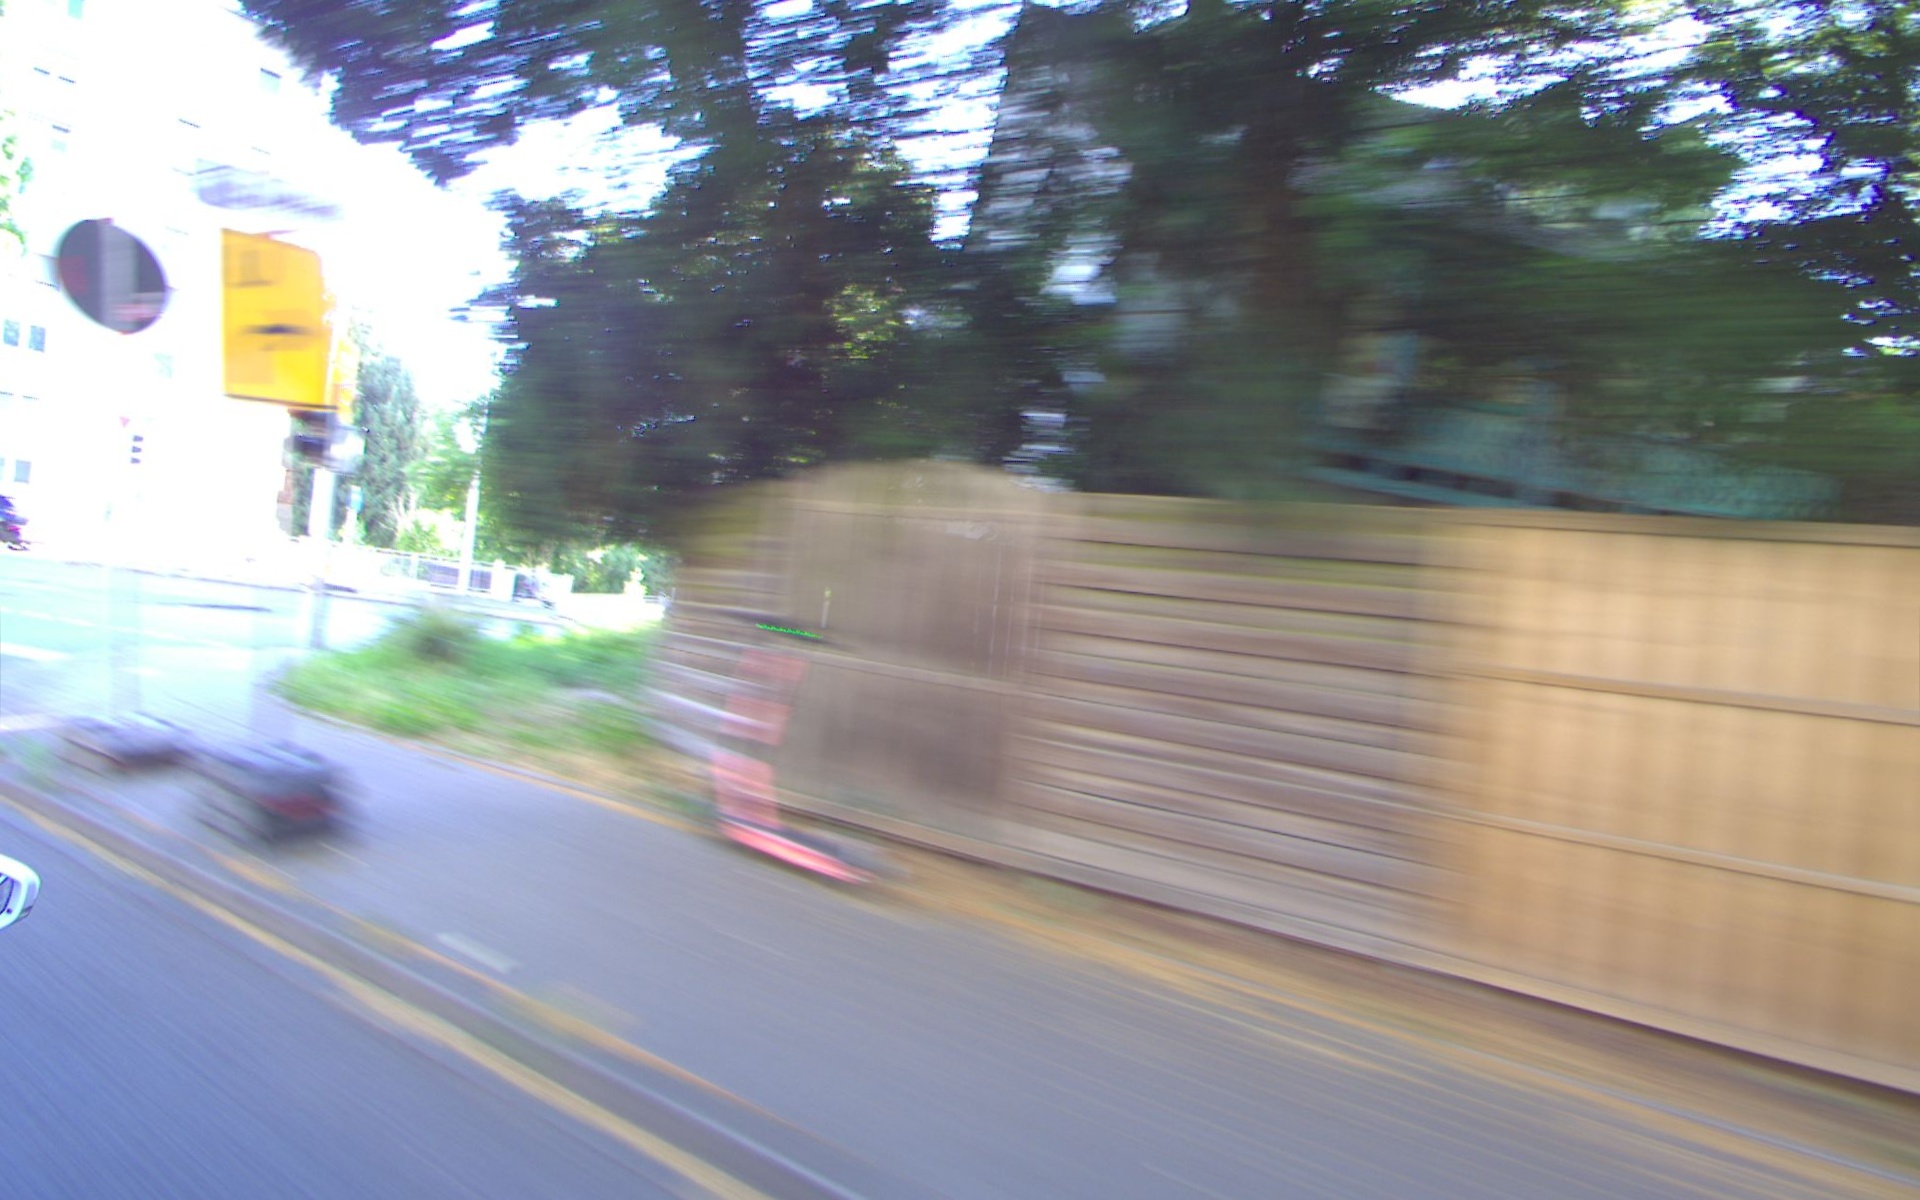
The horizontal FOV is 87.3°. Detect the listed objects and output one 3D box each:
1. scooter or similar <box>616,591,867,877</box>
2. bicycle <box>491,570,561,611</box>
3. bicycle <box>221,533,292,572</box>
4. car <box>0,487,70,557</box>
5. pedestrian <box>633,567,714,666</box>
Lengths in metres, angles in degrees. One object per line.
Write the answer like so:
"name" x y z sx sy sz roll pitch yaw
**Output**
"scooter or similar" -1.146 0.629 5.177 1.238 1.218 0.438 7 3 34
"bicycle" -16.423 -0.365 38.152 2.304 1.192 0.708 9 -1 -22
"bicycle" -25.147 -1.680 35.996 1.897 1.081 0.613 9 -1 -20
"car" -28.259 -2.441 28.052 4.592 1.688 1.996 8 -3 -15
"pedestrian" -5.934 0.348 20.916 1.267 1.859 0.957 8 -1 -7
